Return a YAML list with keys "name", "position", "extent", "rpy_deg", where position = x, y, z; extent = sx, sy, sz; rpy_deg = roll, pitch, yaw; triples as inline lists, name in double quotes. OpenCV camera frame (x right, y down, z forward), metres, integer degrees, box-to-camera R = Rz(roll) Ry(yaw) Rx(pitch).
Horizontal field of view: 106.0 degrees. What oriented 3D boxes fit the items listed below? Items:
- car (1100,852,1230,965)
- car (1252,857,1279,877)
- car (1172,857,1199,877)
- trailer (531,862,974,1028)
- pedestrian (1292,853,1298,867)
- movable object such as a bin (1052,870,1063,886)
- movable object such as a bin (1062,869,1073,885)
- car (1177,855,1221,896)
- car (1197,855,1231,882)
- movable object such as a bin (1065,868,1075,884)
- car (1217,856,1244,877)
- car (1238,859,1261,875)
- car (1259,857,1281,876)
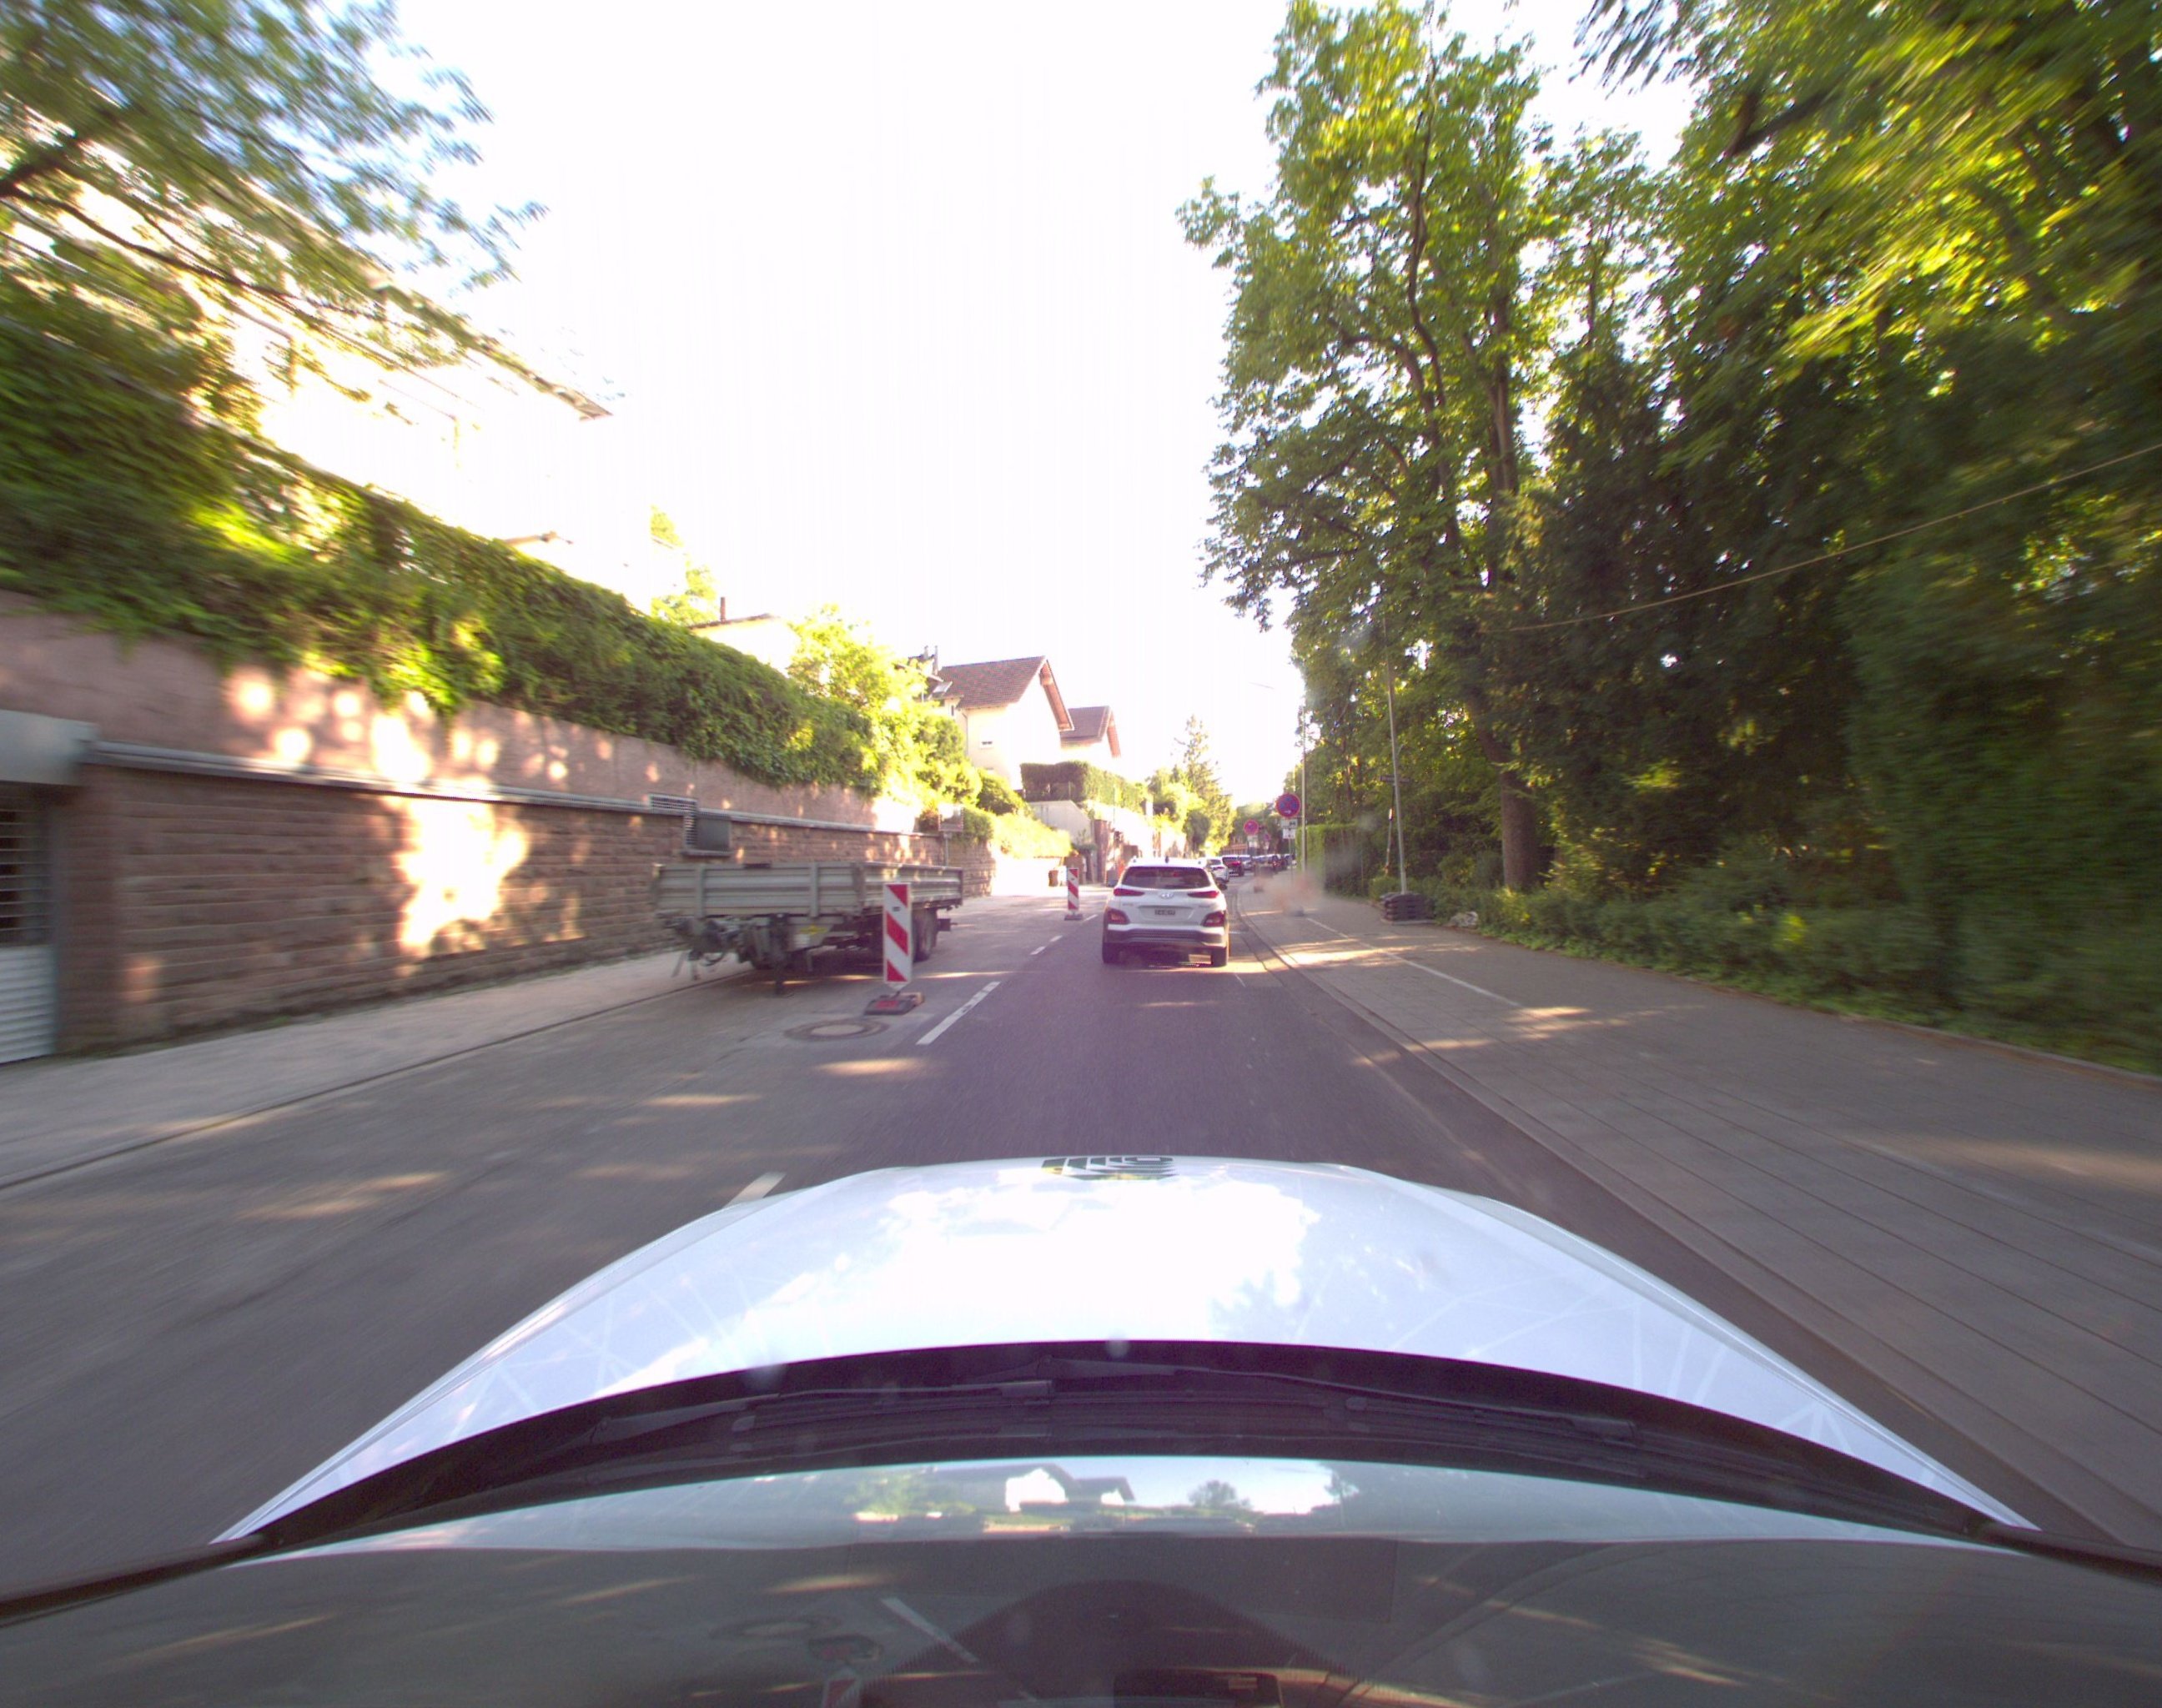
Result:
- name: "car"
  position: [1.374, 0.752, 13.148]
  extent: [1.763, 1.542, 4.007]
  rpy_deg: [0, 0, 6]
- name: "car"
  position: [14.112, 1.004, 62.182]
  extent: [1.781, 1.441, 4.016]
  rpy_deg: [0, 0, 16]
- name: "car"
  position: [8.088, 0.973, 62.946]
  extent: [1.615, 1.422, 3.576]
  rpy_deg: [-2, -1, 14]
- name: "trailer"
  position: [-3.517, 0.867, 11.043]
  extent: [2.628, 1.489, 7.127]
  rpy_deg: [0, 0, 5]
- name: "pedestrian"
  position: [25.738, 0.722, 97.962]
  extent: [0.499, 1.606, 0.493]
  rpy_deg: [-4, -2, 16]
- name: "movable object such as a bin"
  position: [-1.229, 1.269, 42.970]
  extent: [0.451, 0.834, 0.394]
  rpy_deg: [-1, -1, 14]
- name: "movable object such as a bin"
  position: [-0.746, 1.257, 44.947]
  extent: [0.453, 0.884, 0.502]
  rpy_deg: [-1, 0, 14]
- name: "car"
  position: [4.939, 0.849, 33.776]
  extent: [1.502, 1.533, 3.559]
  rpy_deg: [-2, 0, 12]
- name: "car"
  position: [7.632, 0.818, 46.451]
  extent: [1.559, 1.477, 3.562]
  rpy_deg: [-1, 0, 15]
- name: "movable object such as a bin"
  position: [-0.610, 1.248, 45.457]
  extent: [0.453, 0.884, 0.502]
  rpy_deg: [-1, 0, 14]
- name: "car"
  position: [11.321, 0.943, 61.561]
  extent: [1.681, 1.533, 3.896]
  rpy_deg: [0, 0, 15]
- name: "car"
  position: [15.672, 1.164, 75.667]
  extent: [1.680, 1.447, 3.899]
  rpy_deg: [0, 0, 18]
- name: "car"
  position: [16.686, 1.084, 71.722]
  extent: [1.640, 1.564, 2.885]
  rpy_deg: [0, 0, 18]
